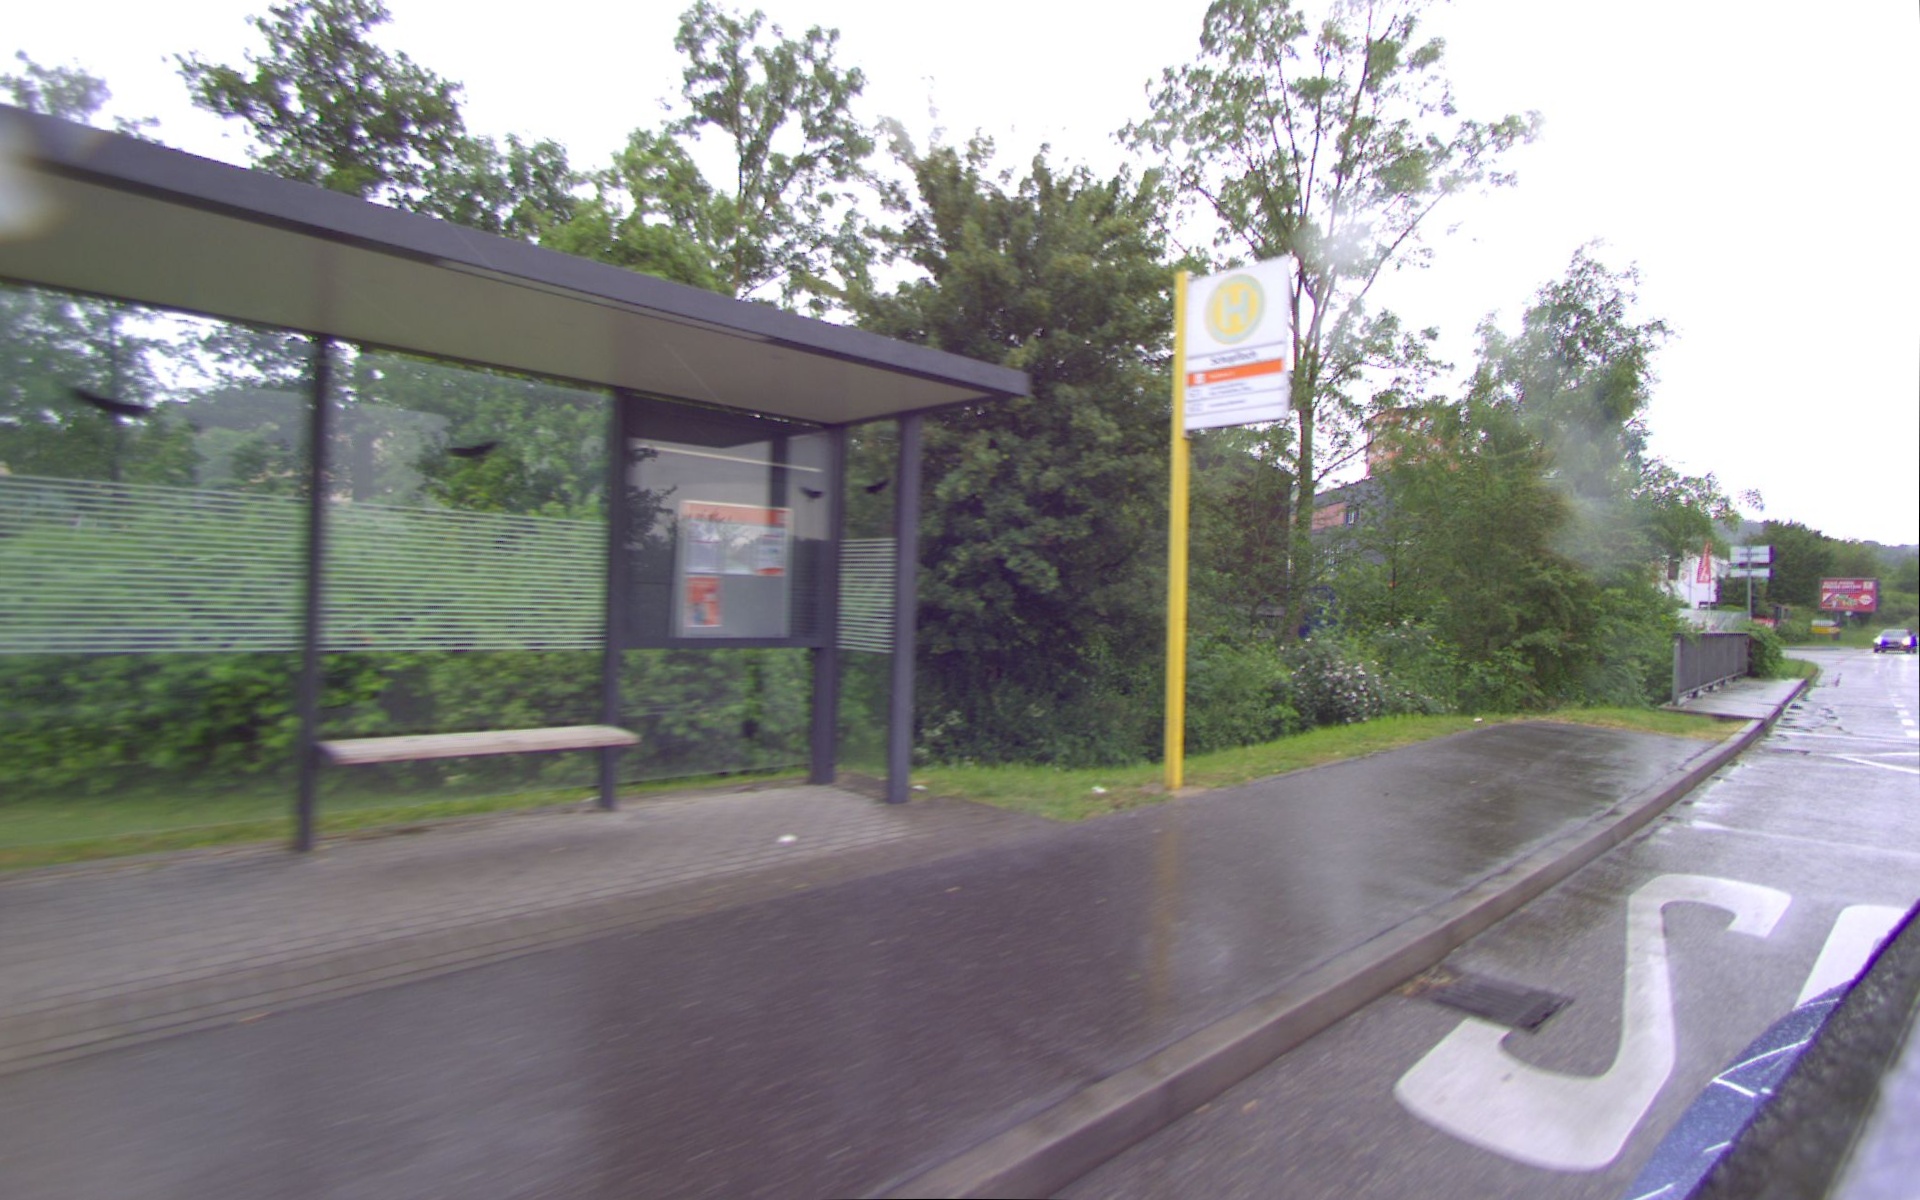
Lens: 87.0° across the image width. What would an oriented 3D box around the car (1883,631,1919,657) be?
[{"bbox_3d":[60.387,2.807,64.555,4.050,1.509,1.854,2,0,-42],"label":"car"}]
